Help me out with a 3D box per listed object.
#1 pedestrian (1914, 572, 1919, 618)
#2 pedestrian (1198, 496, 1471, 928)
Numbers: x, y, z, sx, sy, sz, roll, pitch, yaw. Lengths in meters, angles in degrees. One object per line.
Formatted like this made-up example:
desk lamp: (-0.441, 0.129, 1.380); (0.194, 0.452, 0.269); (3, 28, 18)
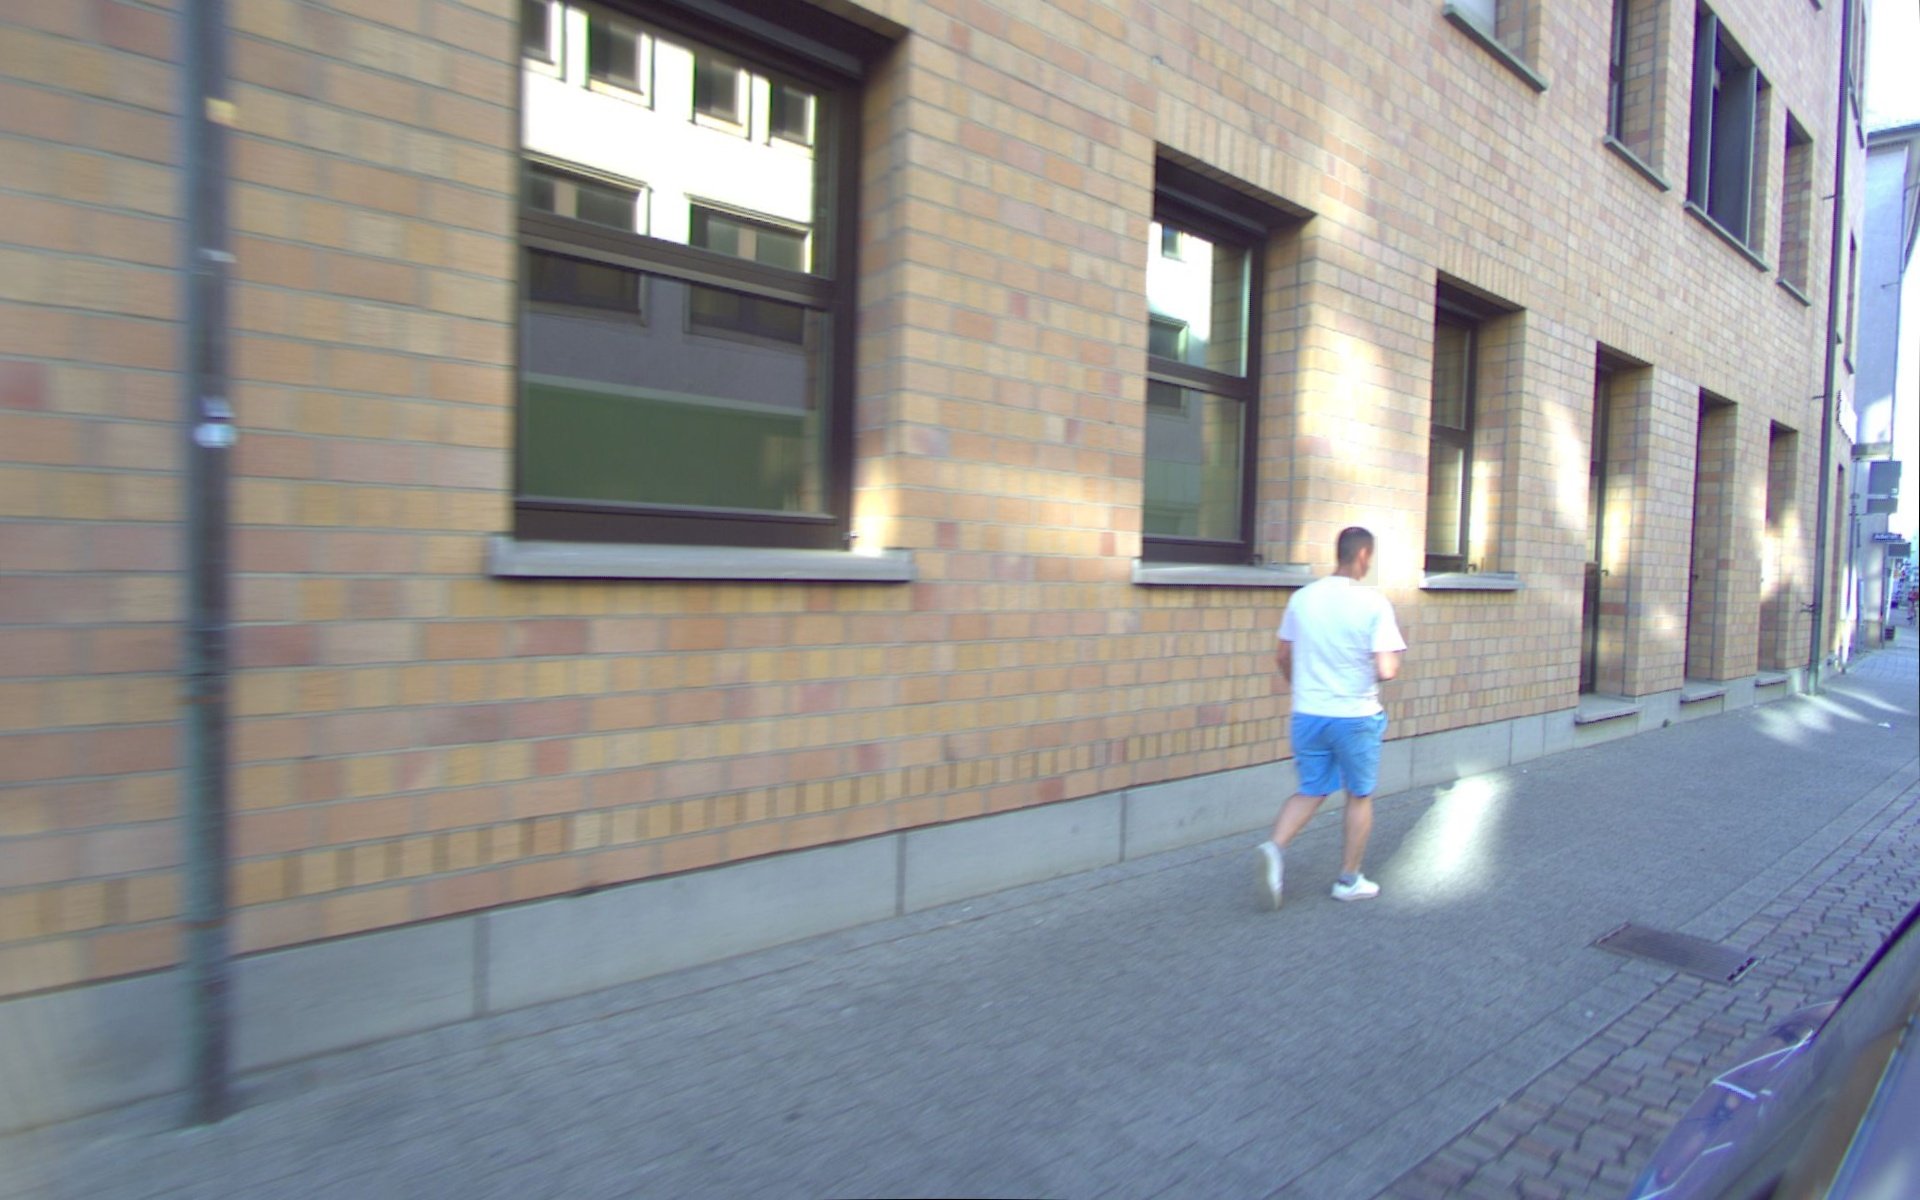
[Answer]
pedestrian: (42.652, -0.201, 44.633); (0.713, 2.038, 0.689); (3, 3, 39)
pedestrian: (1.691, 0.427, 4.598); (0.807, 1.737, 0.762); (0, 4, -39)
